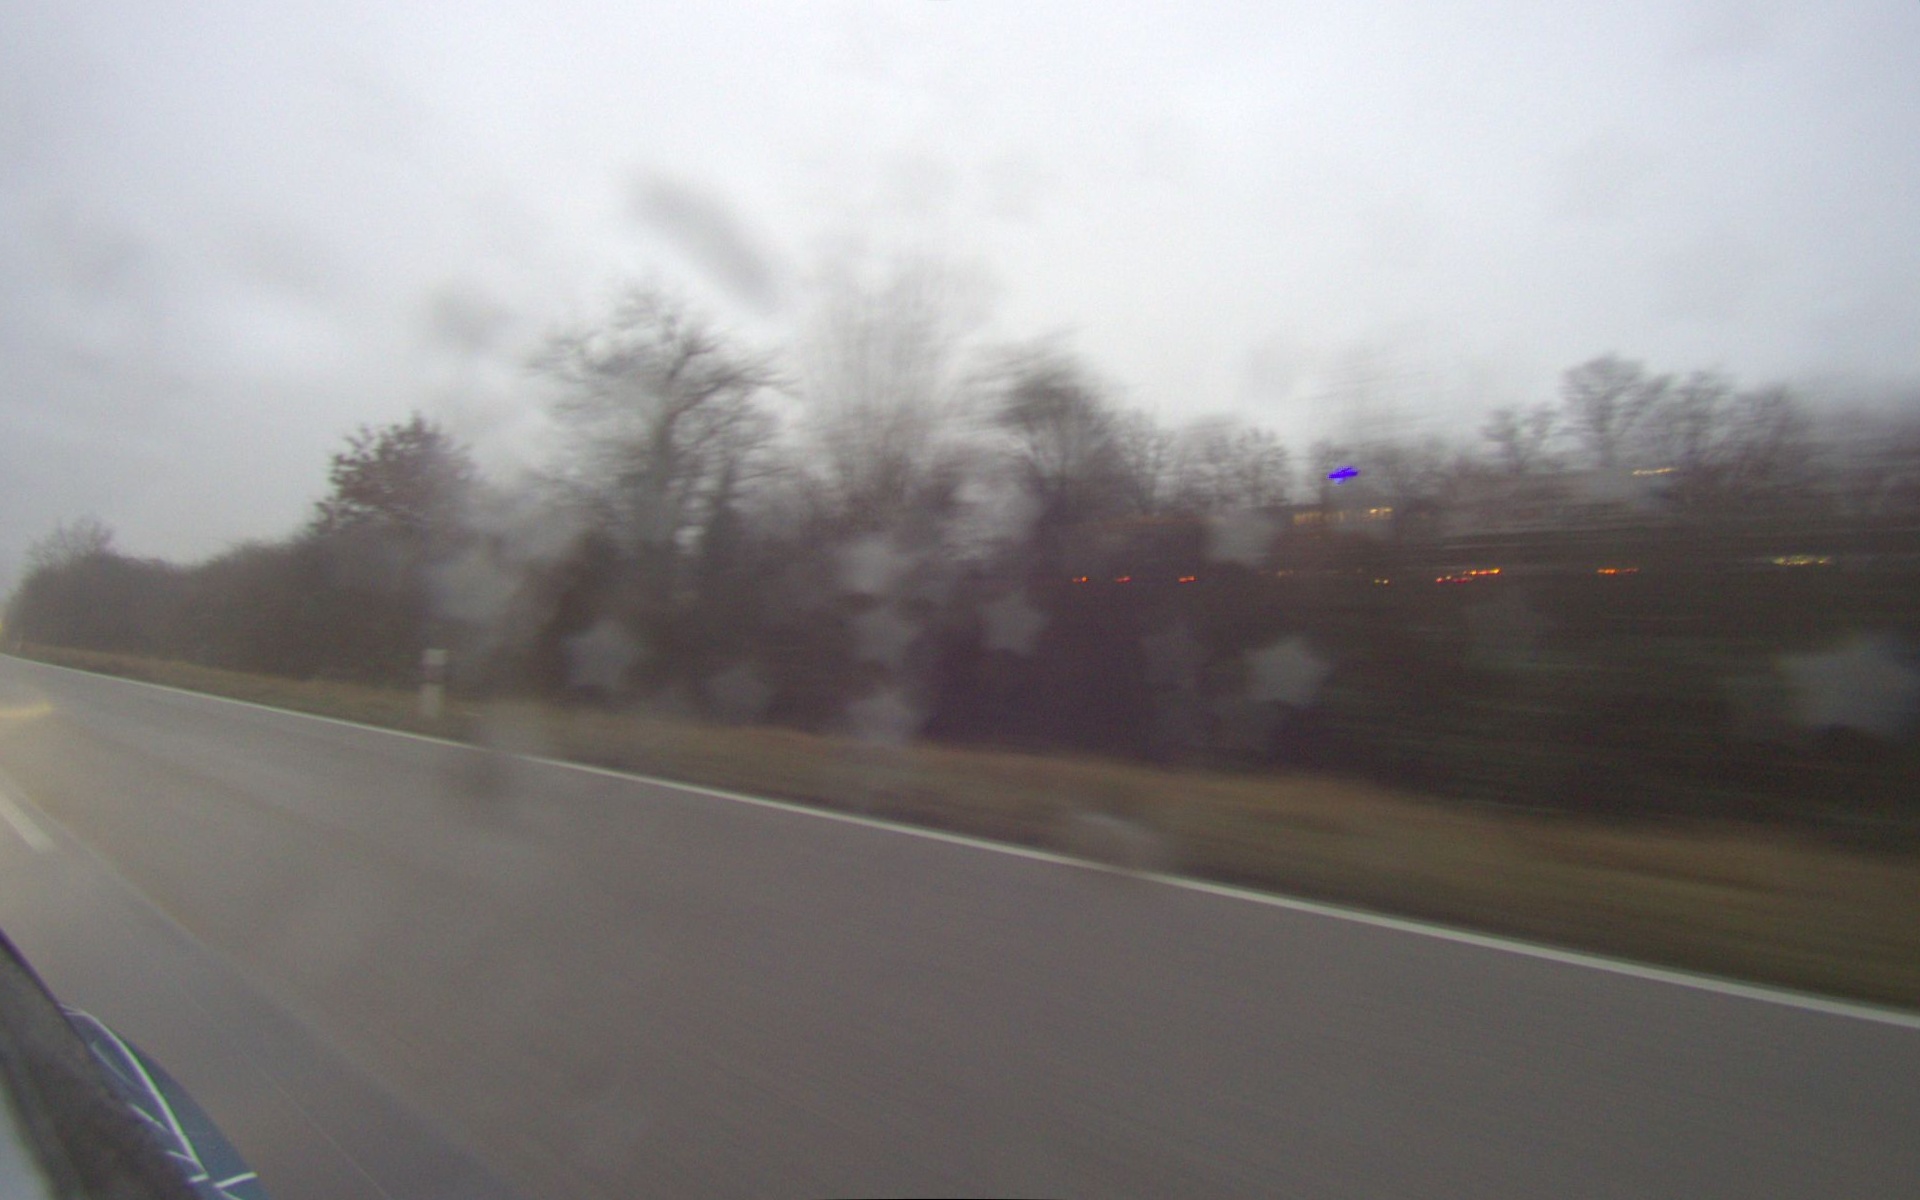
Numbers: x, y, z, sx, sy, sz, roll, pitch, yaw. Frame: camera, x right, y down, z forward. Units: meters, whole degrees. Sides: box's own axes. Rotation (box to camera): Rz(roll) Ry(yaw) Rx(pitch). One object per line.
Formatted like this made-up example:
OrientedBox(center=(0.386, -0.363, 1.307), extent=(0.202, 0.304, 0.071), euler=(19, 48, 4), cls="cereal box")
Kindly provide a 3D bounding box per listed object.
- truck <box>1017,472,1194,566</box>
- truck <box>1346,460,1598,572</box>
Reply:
OrientedBox(center=(4.213, -2.264, 29.710), extent=(4.825, 2.361, 1.973), euler=(-1, 0, 40), cls="truck")
OrientedBox(center=(13.467, -2.085, 26.886), extent=(5.653, 2.512, 1.973), euler=(-1, 0, 40), cls="truck")
